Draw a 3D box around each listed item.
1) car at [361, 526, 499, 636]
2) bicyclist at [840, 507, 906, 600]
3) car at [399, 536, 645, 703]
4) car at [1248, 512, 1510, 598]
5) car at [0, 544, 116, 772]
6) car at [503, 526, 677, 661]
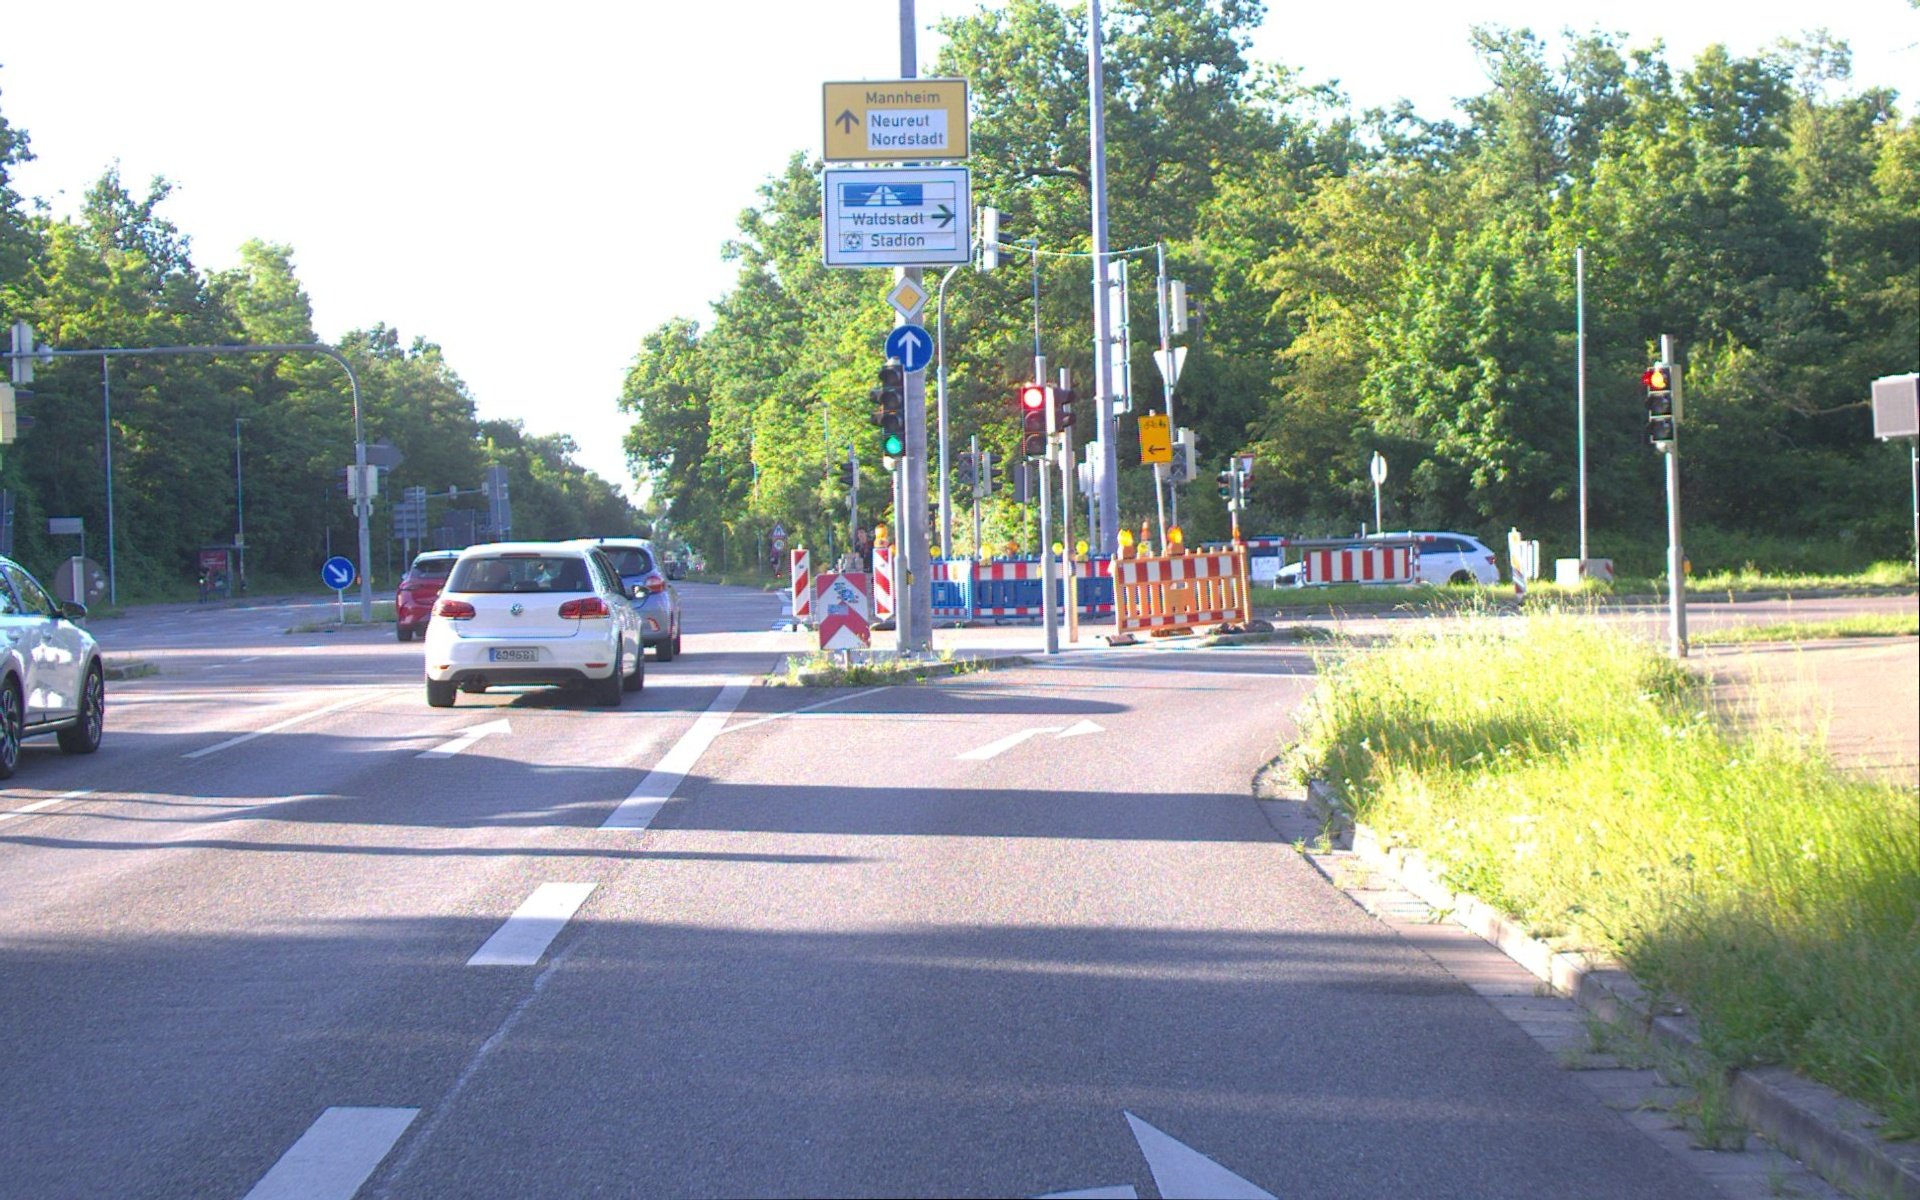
[{"bbox_3d":[-8.634,-0.325,56.250,1.993,1.679,4.001,-2,1,-6],"label":"car"},{"bbox_3d":[-1.814,-0.982,71.936,1.013,1.923,0.968,-1,1,-34],"label":"bicyclist"},{"bbox_3d":[-4.035,0.136,32.229,1.940,1.409,4.001,-2,1,-3],"label":"car"},{"bbox_3d":[8.382,-0.905,68.823,4.817,1.575,2.000,-2,1,-23],"label":"car"},{"bbox_3d":[-7.056,0.354,23.155,1.863,1.439,4.000,-1,1,-2],"label":"car"},{"bbox_3d":[-4.567,-0.103,42.488,1.993,1.531,4.001,-2,1,-6],"label":"car"}]
